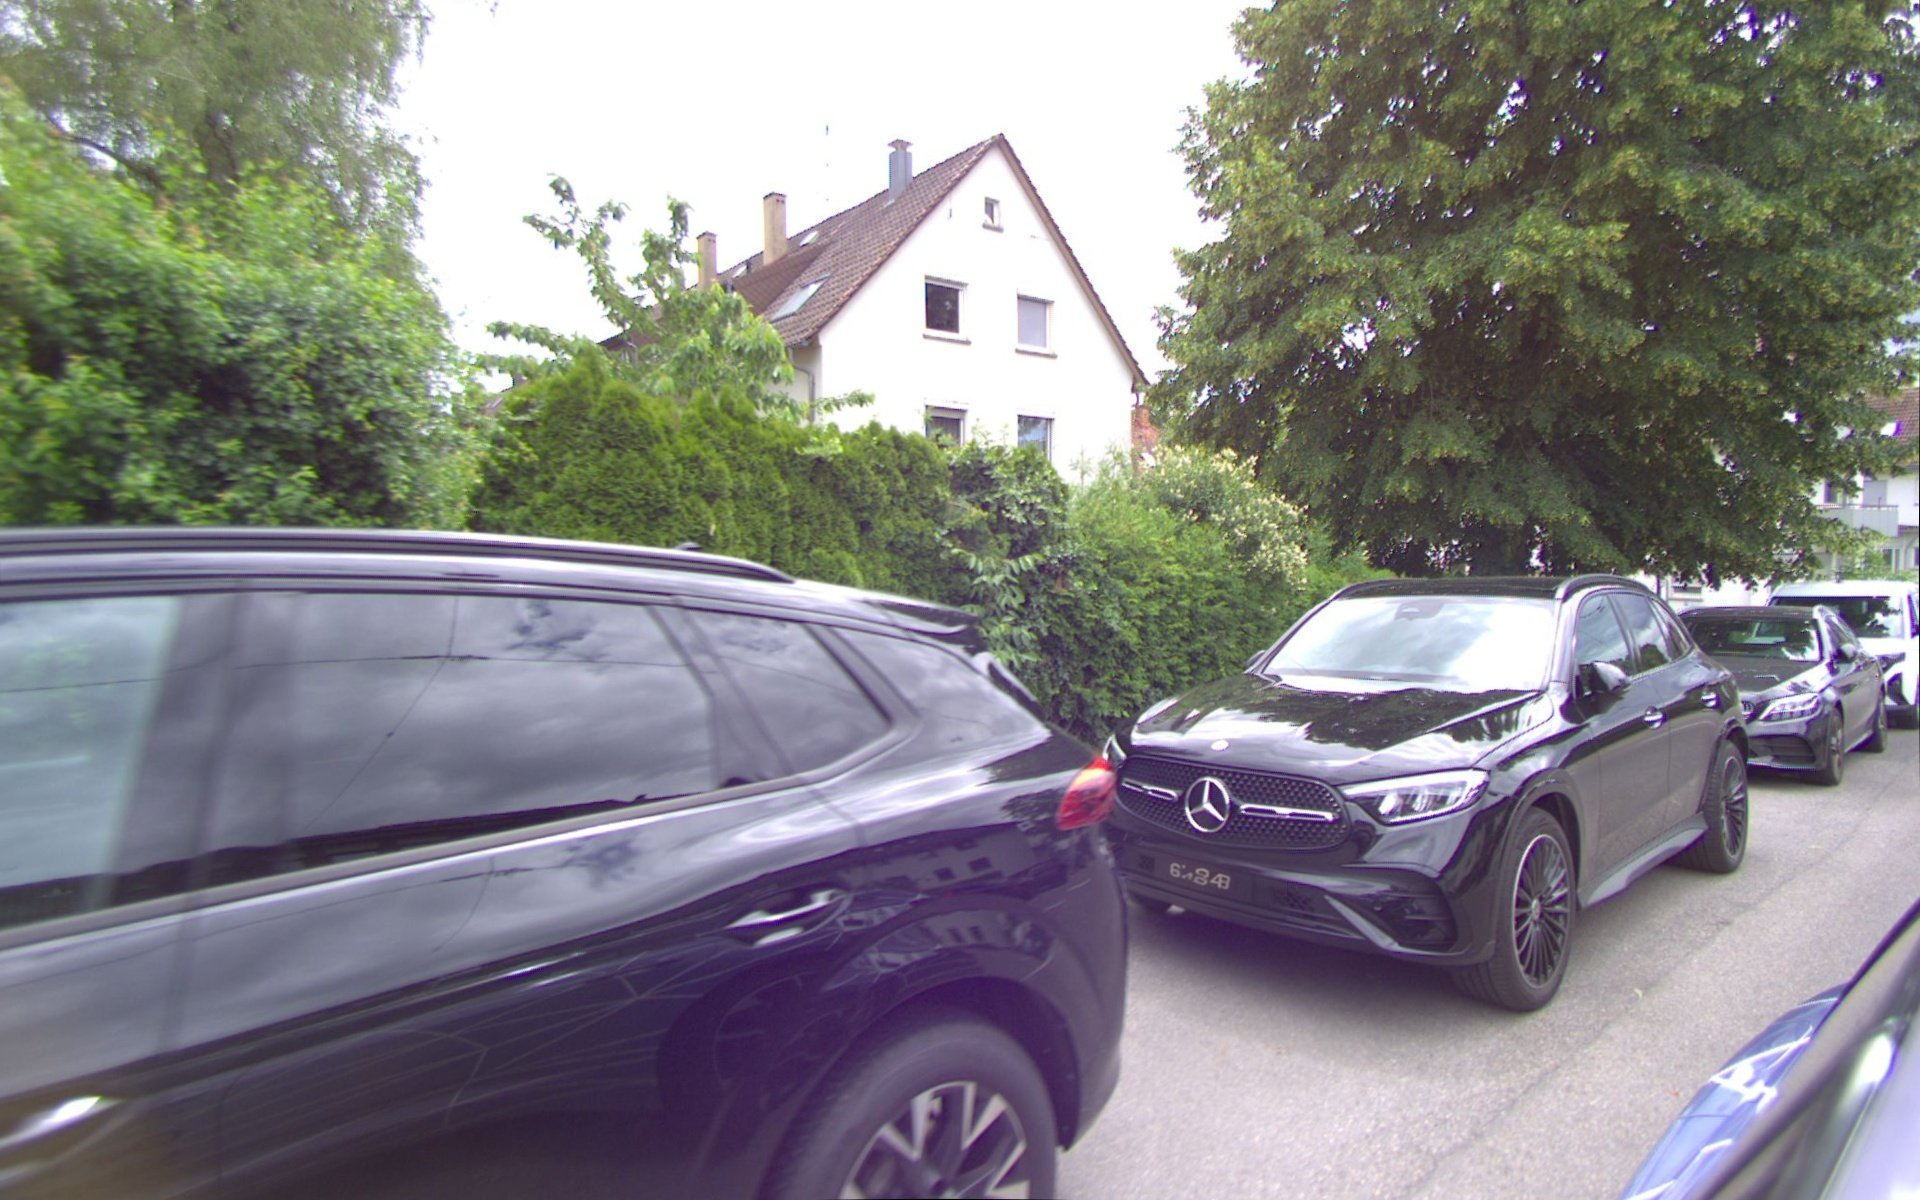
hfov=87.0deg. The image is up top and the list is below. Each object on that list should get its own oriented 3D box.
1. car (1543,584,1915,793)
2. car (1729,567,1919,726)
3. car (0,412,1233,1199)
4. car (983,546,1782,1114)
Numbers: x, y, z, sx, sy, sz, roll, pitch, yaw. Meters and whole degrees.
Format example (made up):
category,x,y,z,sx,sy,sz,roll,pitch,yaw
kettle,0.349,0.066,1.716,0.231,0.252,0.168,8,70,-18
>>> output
category,x,y,z,sx,sy,sz,roll,pitch,yaw
car,7.603,0.625,9.834,4.540,1.496,1.997,-1,3,-41
car,11.821,0.526,13.433,4.244,1.797,1.840,0,-1,-43
car,-1.639,0.637,1.549,4.461,1.635,1.814,-1,1,-41
car,2.430,0.621,5.147,4.461,1.635,1.997,-1,1,-41
